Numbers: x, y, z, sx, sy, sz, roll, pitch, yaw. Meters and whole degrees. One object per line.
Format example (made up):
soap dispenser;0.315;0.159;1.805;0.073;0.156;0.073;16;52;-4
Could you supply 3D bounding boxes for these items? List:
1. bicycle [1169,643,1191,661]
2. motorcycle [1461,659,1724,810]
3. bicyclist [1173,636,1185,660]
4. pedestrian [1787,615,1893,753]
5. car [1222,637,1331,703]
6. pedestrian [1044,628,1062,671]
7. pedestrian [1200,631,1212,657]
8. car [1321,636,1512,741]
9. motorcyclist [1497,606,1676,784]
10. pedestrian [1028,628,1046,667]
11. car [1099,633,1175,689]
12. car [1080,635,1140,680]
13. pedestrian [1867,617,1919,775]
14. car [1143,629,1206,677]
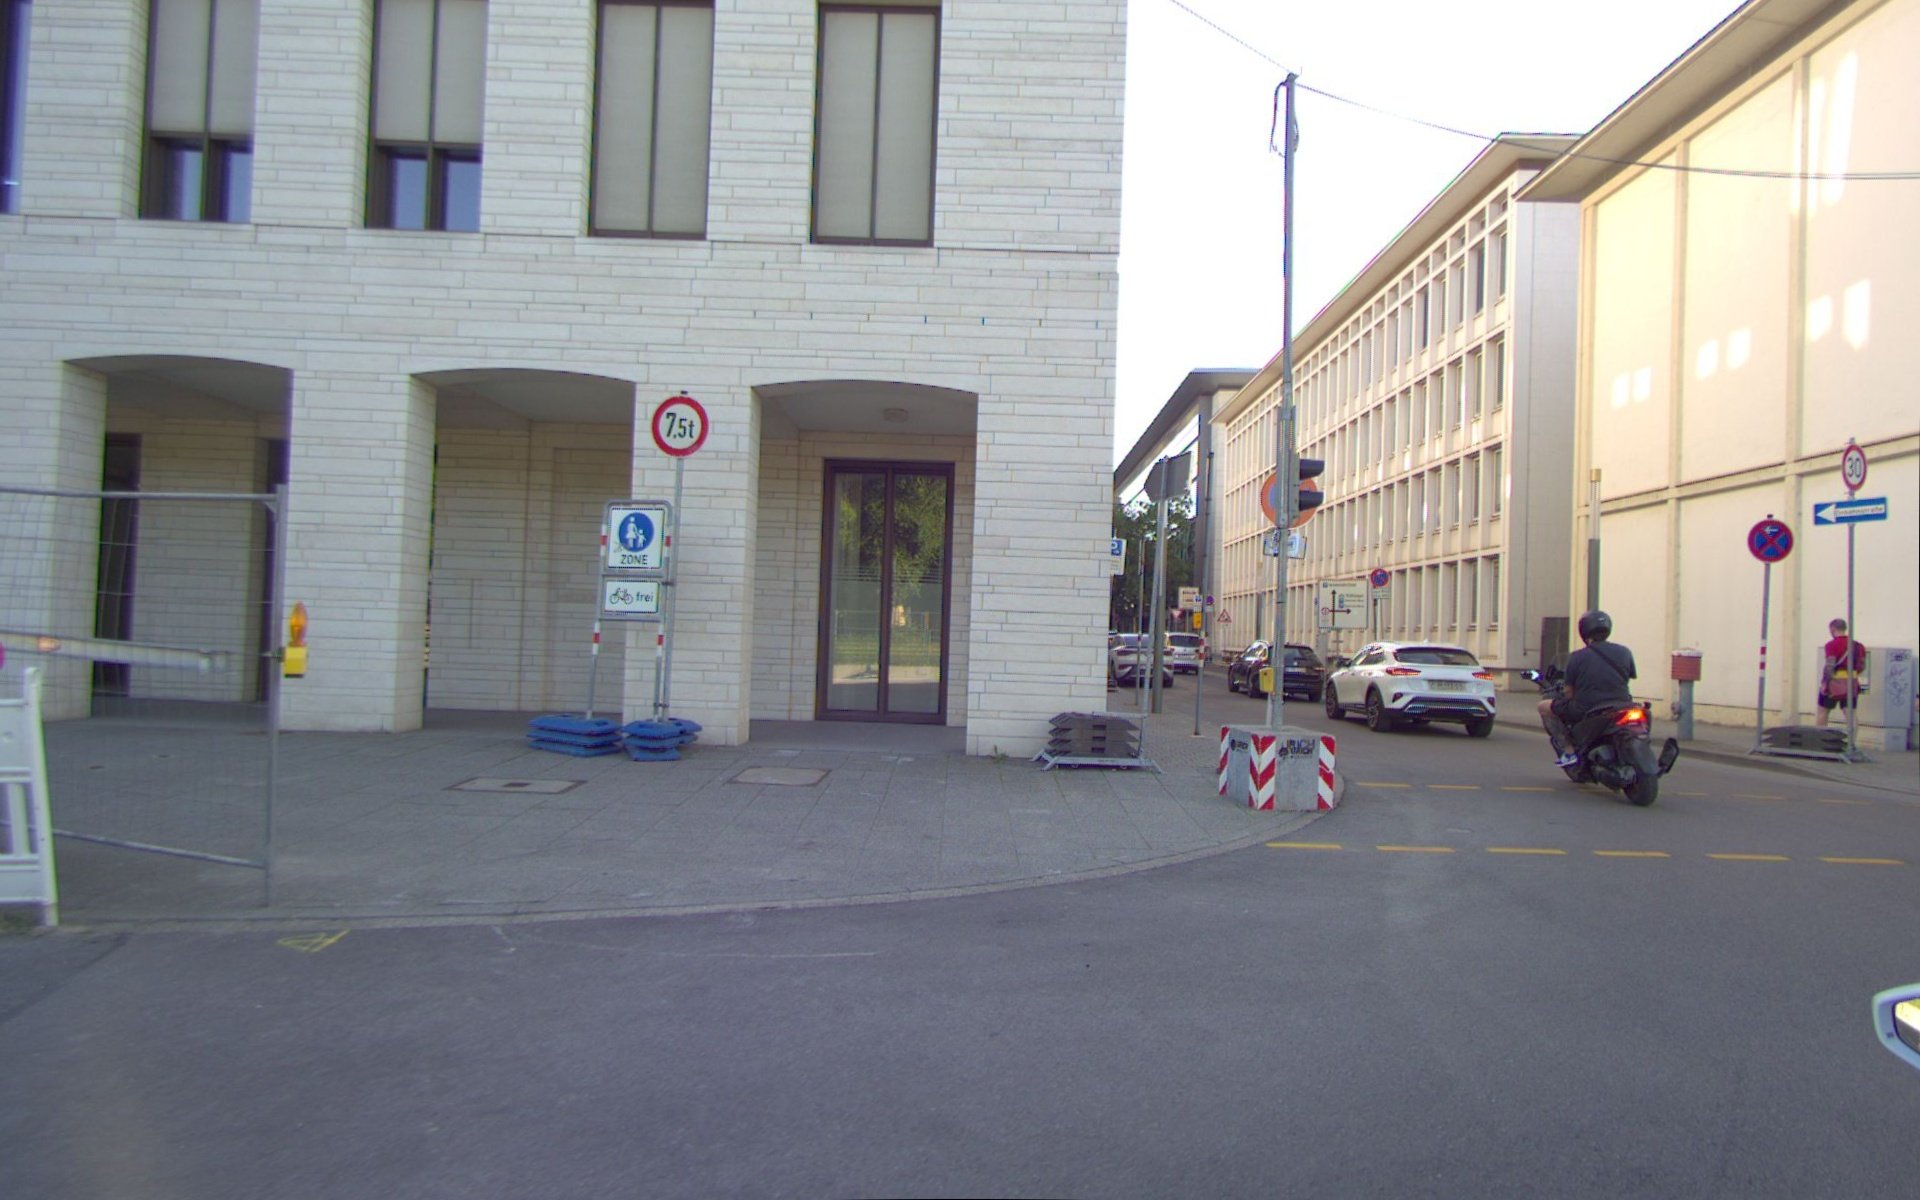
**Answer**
bicycle;16.269;3.815;74.259;1.538;1.266;0.552;0;-2;23
motorcycle;5.954;1.206;9.728;0.891;1.199;2.579;1;-2;-1
bicyclist;16.198;3.561;74.314;0.735;1.729;0.737;0;-2;23
pedestrian;12.062;1.131;13.792;0.697;1.825;0.776;-1;-2;1
car;8.258;1.771;26.548;1.744;1.570;4.108;1;-2;3
pedestrian;3.909;2.084;42.306;0.692;1.810;0.727;1;-2;2
pedestrian;15.392;2.765;62.868;0.632;1.622;0.620;1;-2;4
car;7.693;1.430;17.369;1.827;1.491;4.003;3;-2;7
motorcyclist;5.961;0.881;9.649;0.938;1.580;1.239;1;-2;-1
pedestrian;3.284;2.044;43.018;0.692;1.635;0.861;1;-2;2
car;5.462;1.855;31.470;1.780;1.627;4.269;0;-2;2
car;5.469;2.064;36.880;1.780;1.547;3.517;0;-2;2
pedestrian;11.497;1.111;11.686;0.702;1.825;1.247;-1;-2;1
car;8.933;2.194;42.086;1.892;1.881;4.002;1;-2;2
